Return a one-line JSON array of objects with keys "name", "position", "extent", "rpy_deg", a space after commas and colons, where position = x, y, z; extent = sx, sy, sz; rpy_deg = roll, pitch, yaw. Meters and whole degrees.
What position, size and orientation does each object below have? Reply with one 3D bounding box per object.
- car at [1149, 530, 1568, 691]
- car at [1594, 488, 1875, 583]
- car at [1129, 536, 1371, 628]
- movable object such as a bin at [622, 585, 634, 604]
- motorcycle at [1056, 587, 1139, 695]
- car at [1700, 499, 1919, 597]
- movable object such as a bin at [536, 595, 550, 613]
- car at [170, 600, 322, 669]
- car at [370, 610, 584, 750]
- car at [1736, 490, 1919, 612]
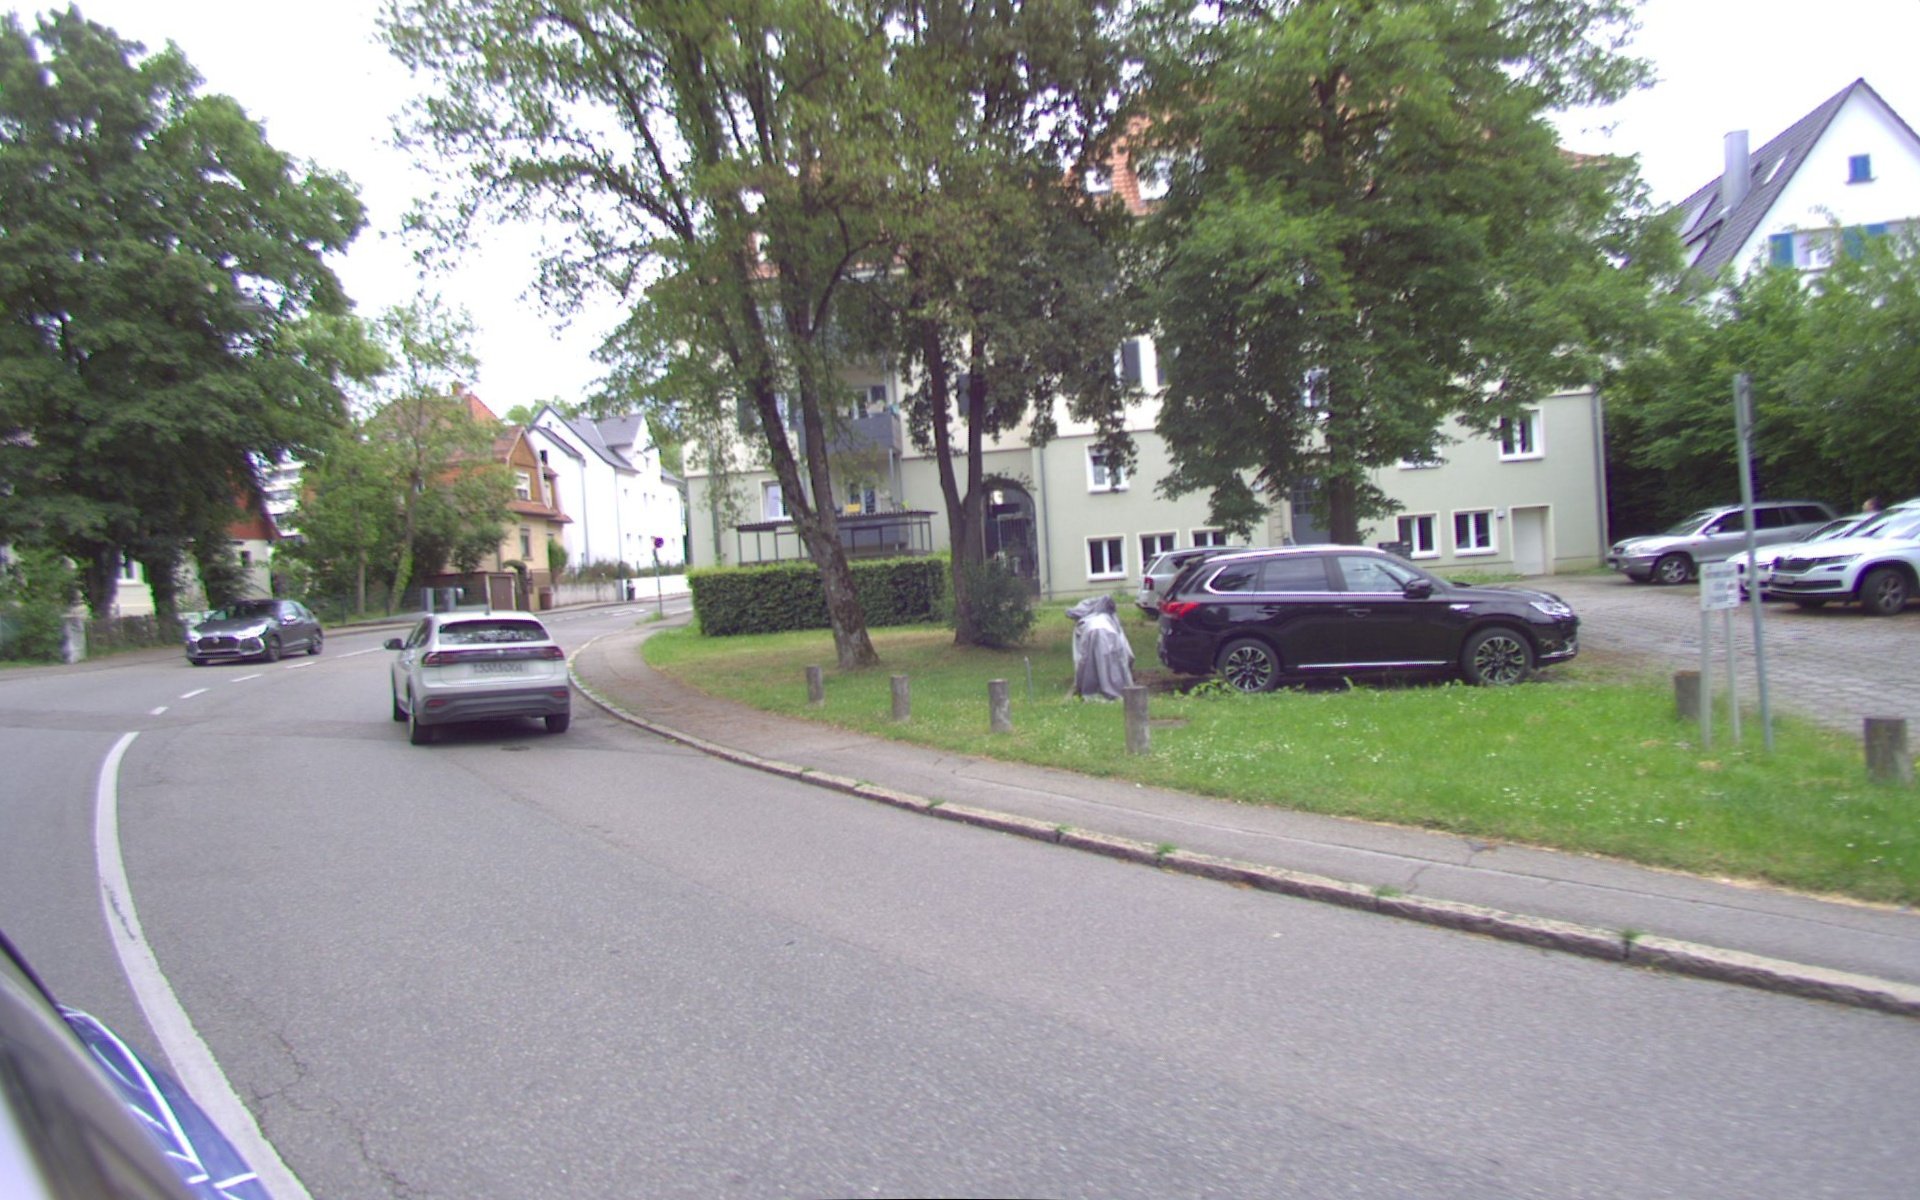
[{"name": "car", "position": [4.450, 0.119, 11.964], "extent": [4.288, 1.605, 1.741], "rpy_deg": [-2, 2, 12]}, {"name": "car", "position": [17.119, -1.401, 22.615], "extent": [4.583, 1.743, 1.740], "rpy_deg": [-3, 2, 15]}, {"name": "car", "position": [5.858, -0.384, 20.998], "extent": [4.539, 1.544, 1.952], "rpy_deg": [-3, 2, 9]}, {"name": "movable object such as a bin", "position": [-20.797, -0.329, 63.402], "extent": [0.523, 1.187, 0.633], "rpy_deg": [0, 2, 5]}, {"name": "motorcycle", "position": [1.761, 0.463, 12.671], "extent": [0.856, 1.160, 2.059], "rpy_deg": [-2, 2, 12]}, {"name": "car", "position": [15.863, -0.951, 17.754], "extent": [4.155, 1.504, 1.873], "rpy_deg": [-3, 2, 12]}, {"name": "movable object such as a bin", "position": [-21.886, 0.210, 53.142], "extent": [0.457, 0.931, 0.565], "rpy_deg": [0, 2, 5]}, {"name": "car", "position": [-16.973, 0.759, 24.285], "extent": [1.620, 1.408, 3.791], "rpy_deg": [-1, 1, -12]}, {"name": "car", "position": [-6.227, 0.859, 12.793], "extent": [1.701, 1.468, 4.088], "rpy_deg": [0, -1, -36]}, {"name": "car", "position": [14.931, -0.834, 15.401], "extent": [4.446, 1.689, 2.003], "rpy_deg": [-3, 2, 9]}]
